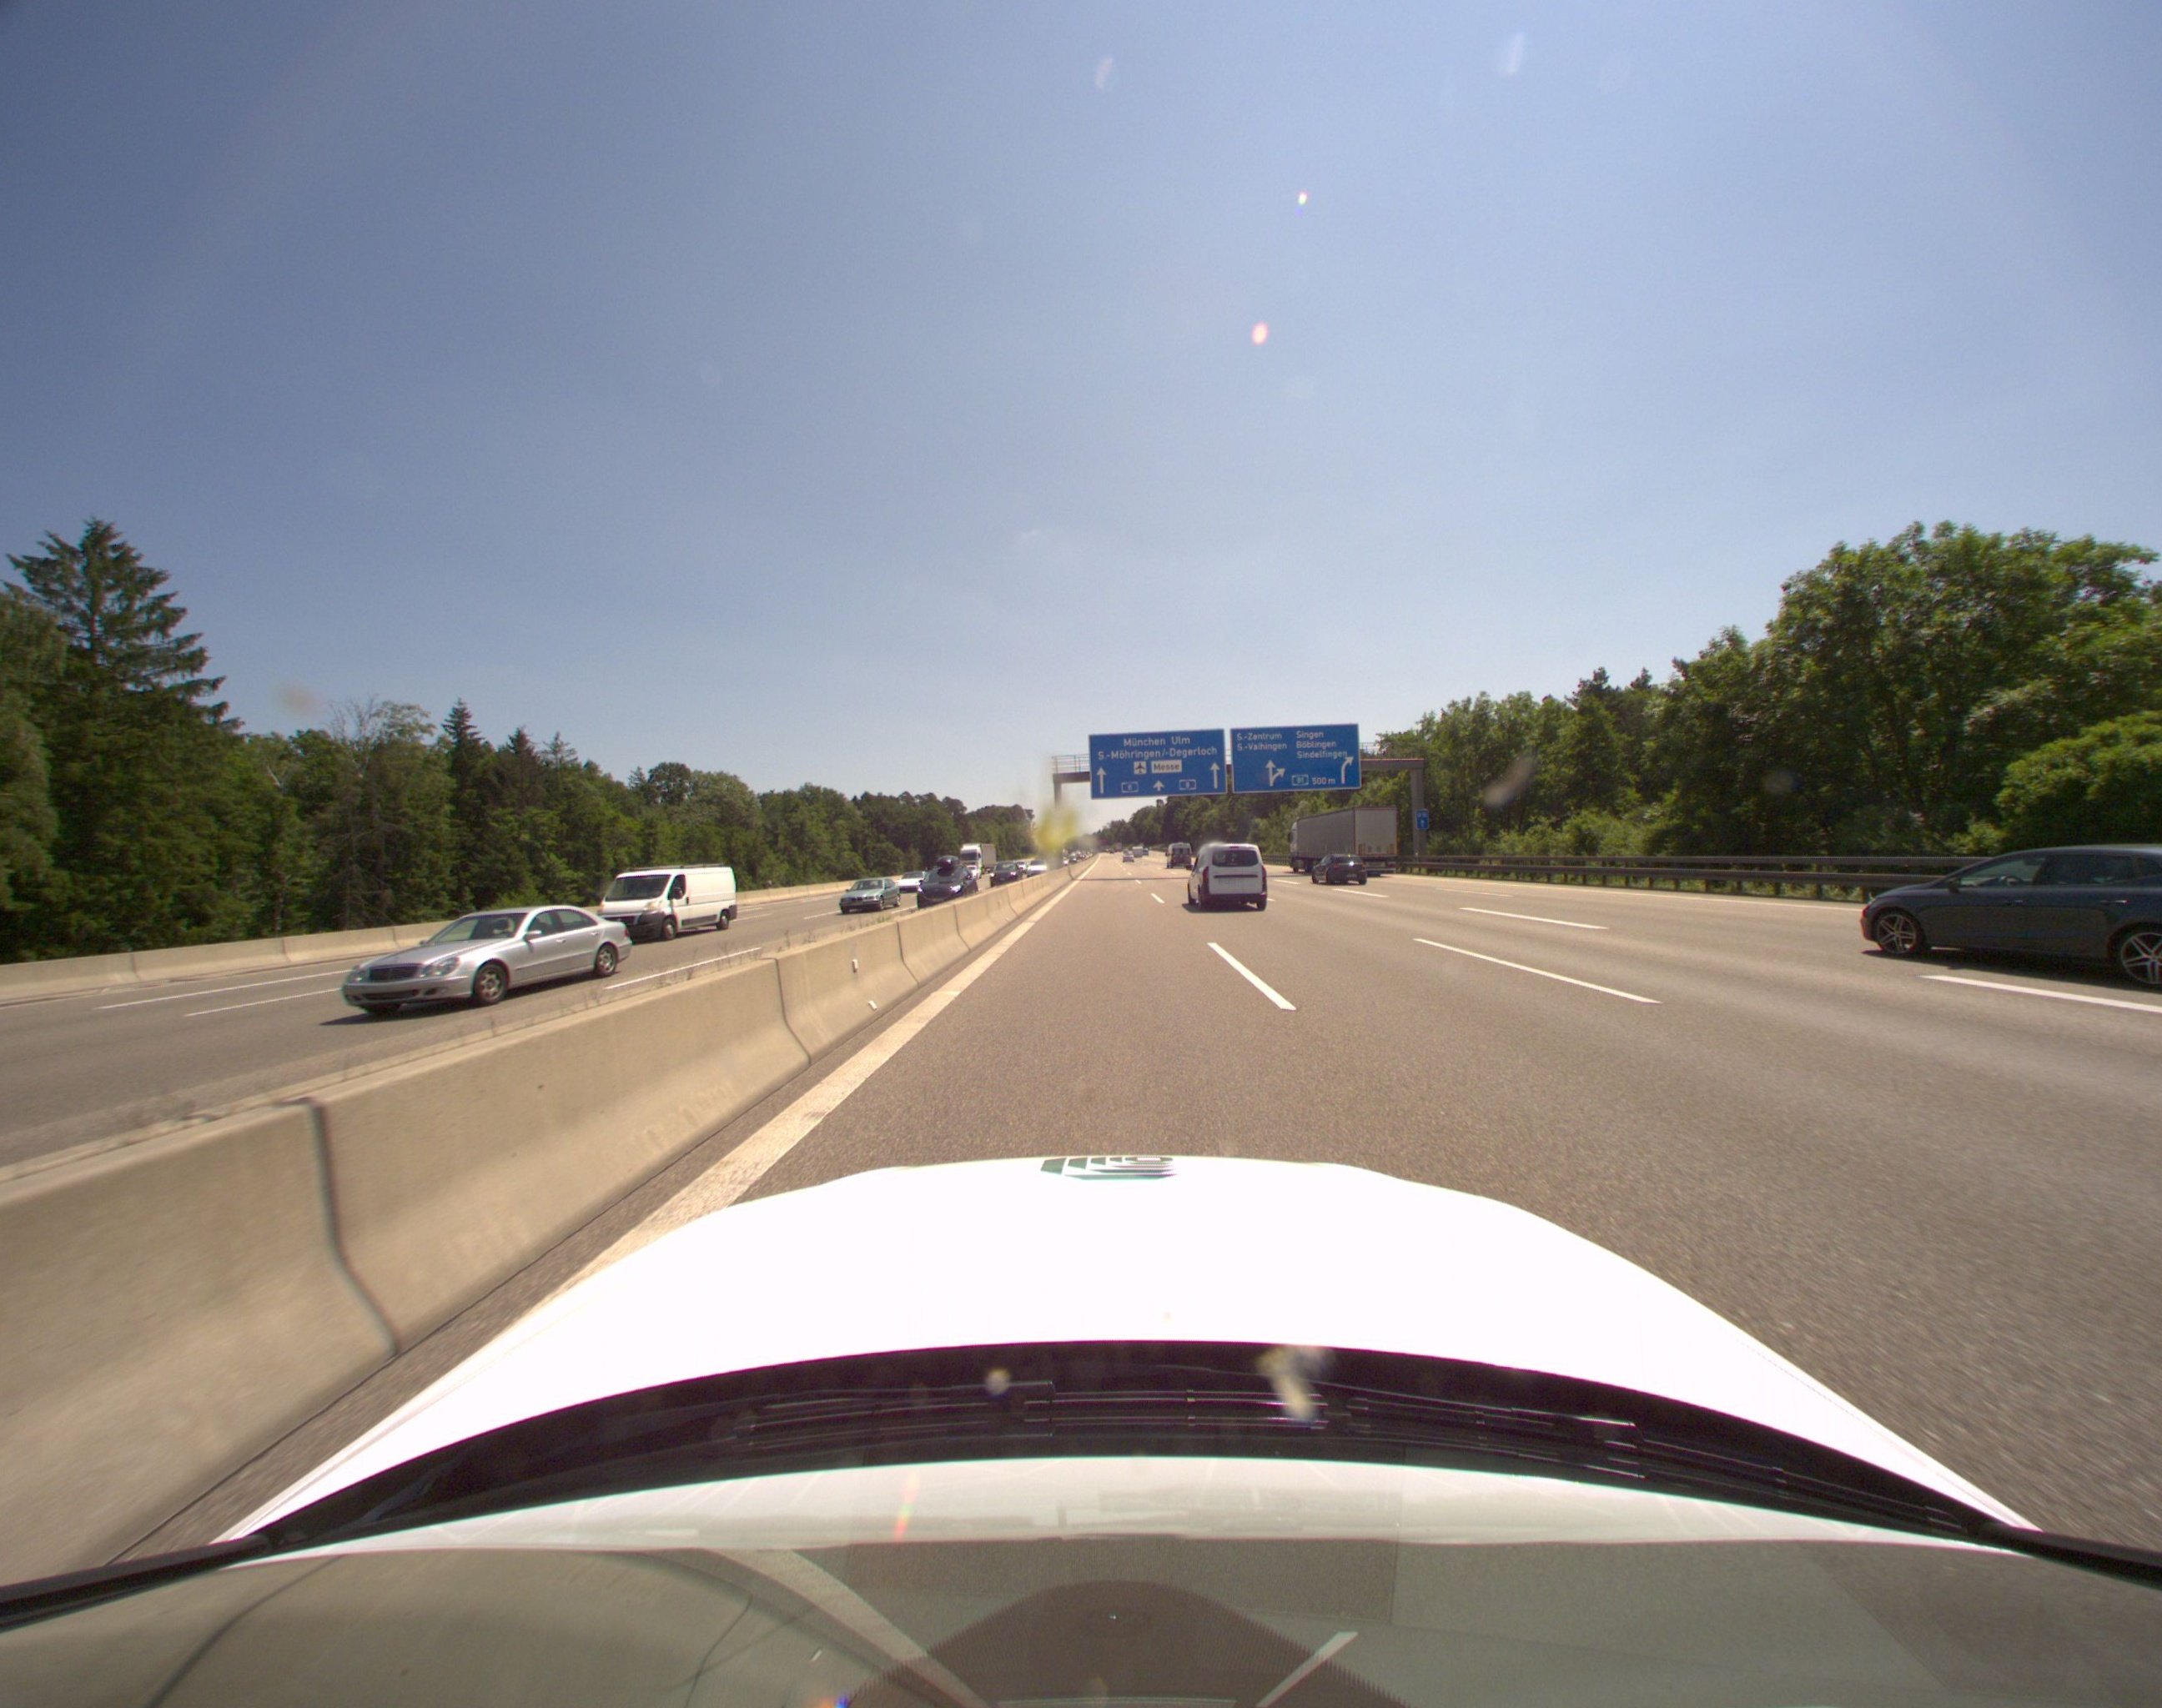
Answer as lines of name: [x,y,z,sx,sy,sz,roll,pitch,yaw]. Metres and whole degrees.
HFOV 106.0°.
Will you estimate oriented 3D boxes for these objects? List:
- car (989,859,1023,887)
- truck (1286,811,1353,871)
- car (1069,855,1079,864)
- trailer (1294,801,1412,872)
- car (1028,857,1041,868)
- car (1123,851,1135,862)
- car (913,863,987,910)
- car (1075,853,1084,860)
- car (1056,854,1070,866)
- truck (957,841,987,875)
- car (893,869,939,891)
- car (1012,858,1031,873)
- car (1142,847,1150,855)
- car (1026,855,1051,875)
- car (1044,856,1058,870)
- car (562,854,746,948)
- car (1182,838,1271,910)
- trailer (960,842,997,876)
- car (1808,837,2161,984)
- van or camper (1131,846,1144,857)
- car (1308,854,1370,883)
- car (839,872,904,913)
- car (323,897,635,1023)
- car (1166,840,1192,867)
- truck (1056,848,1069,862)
car: [-4.950,1.232,53.964,1.748,1.673,4.203,-3,0,0]
truck: [17.322,-0.923,59.629,3.242,4.106,5.990,-1,0,2]
car: [-1.384,1.090,156.788,1.718,1.537,5.054,-3,0,-1]
trailer: [17.161,-1.015,52.853,3.275,3.930,13.894,-1,0,1]
car: [-6.639,1.242,117.034,1.543,1.442,4.725,-2,0,1]
car: [7.938,0.479,135.020,1.836,1.629,4.556,-3,-1,2]
car: [-5.190,1.234,32.937,1.863,1.606,5.231,-4,0,2]
car: [-0.282,0.605,205.115,1.986,1.618,4.002,-3,0,2]
car: [-2.728,0.866,123.460,1.840,1.550,5.215,-5,0,1]
truck: [-14.379,0.579,108.068,2.749,4.220,6.380,-3,-1,2]
car: [-11.339,1.776,56.321,1.985,1.306,4.847,-3,0,2]
car: [-6.964,1.348,95.674,1.811,1.589,4.883,-3,0,1]
car: [17.254,-0.808,217.479,1.813,1.859,4.002,-3,0,2]
car: [-3.937,0.996,75.437,1.805,1.673,4.478,-3,0,2]
car: [-3.645,1.101,98.745,1.532,1.550,4.068,-3,0,-1]
car: [-13.042,1.340,25.579,1.923,2.413,6.628,-5,-1,2]
car: [4.088,0.556,23.591,1.853,1.826,4.614,-2,-1,2]
trailer: [-14.189,0.739,114.076,2.744,4.246,13.724,-3,-1,2]
car: [11.407,0.541,9.595,1.637,1.438,4.637,-1,0,1]
van or camper: [13.110,-0.562,190.369,2.635,2.539,6.504,-3,-1,2]
car: [11.934,0.653,37.981,1.664,1.273,4.292,-1,0,2]
car: [-8.728,1.573,34.226,1.543,1.455,3.841,-5,0,2]
car: [-9.763,1.615,13.776,1.672,1.444,4.529,-4,0,3]
car: [9.943,-0.046,82.955,2.135,2.652,5.712,-2,0,2]
truck: [-3.968,0.267,177.120,2.130,2.838,7.673,-3,0,2]
